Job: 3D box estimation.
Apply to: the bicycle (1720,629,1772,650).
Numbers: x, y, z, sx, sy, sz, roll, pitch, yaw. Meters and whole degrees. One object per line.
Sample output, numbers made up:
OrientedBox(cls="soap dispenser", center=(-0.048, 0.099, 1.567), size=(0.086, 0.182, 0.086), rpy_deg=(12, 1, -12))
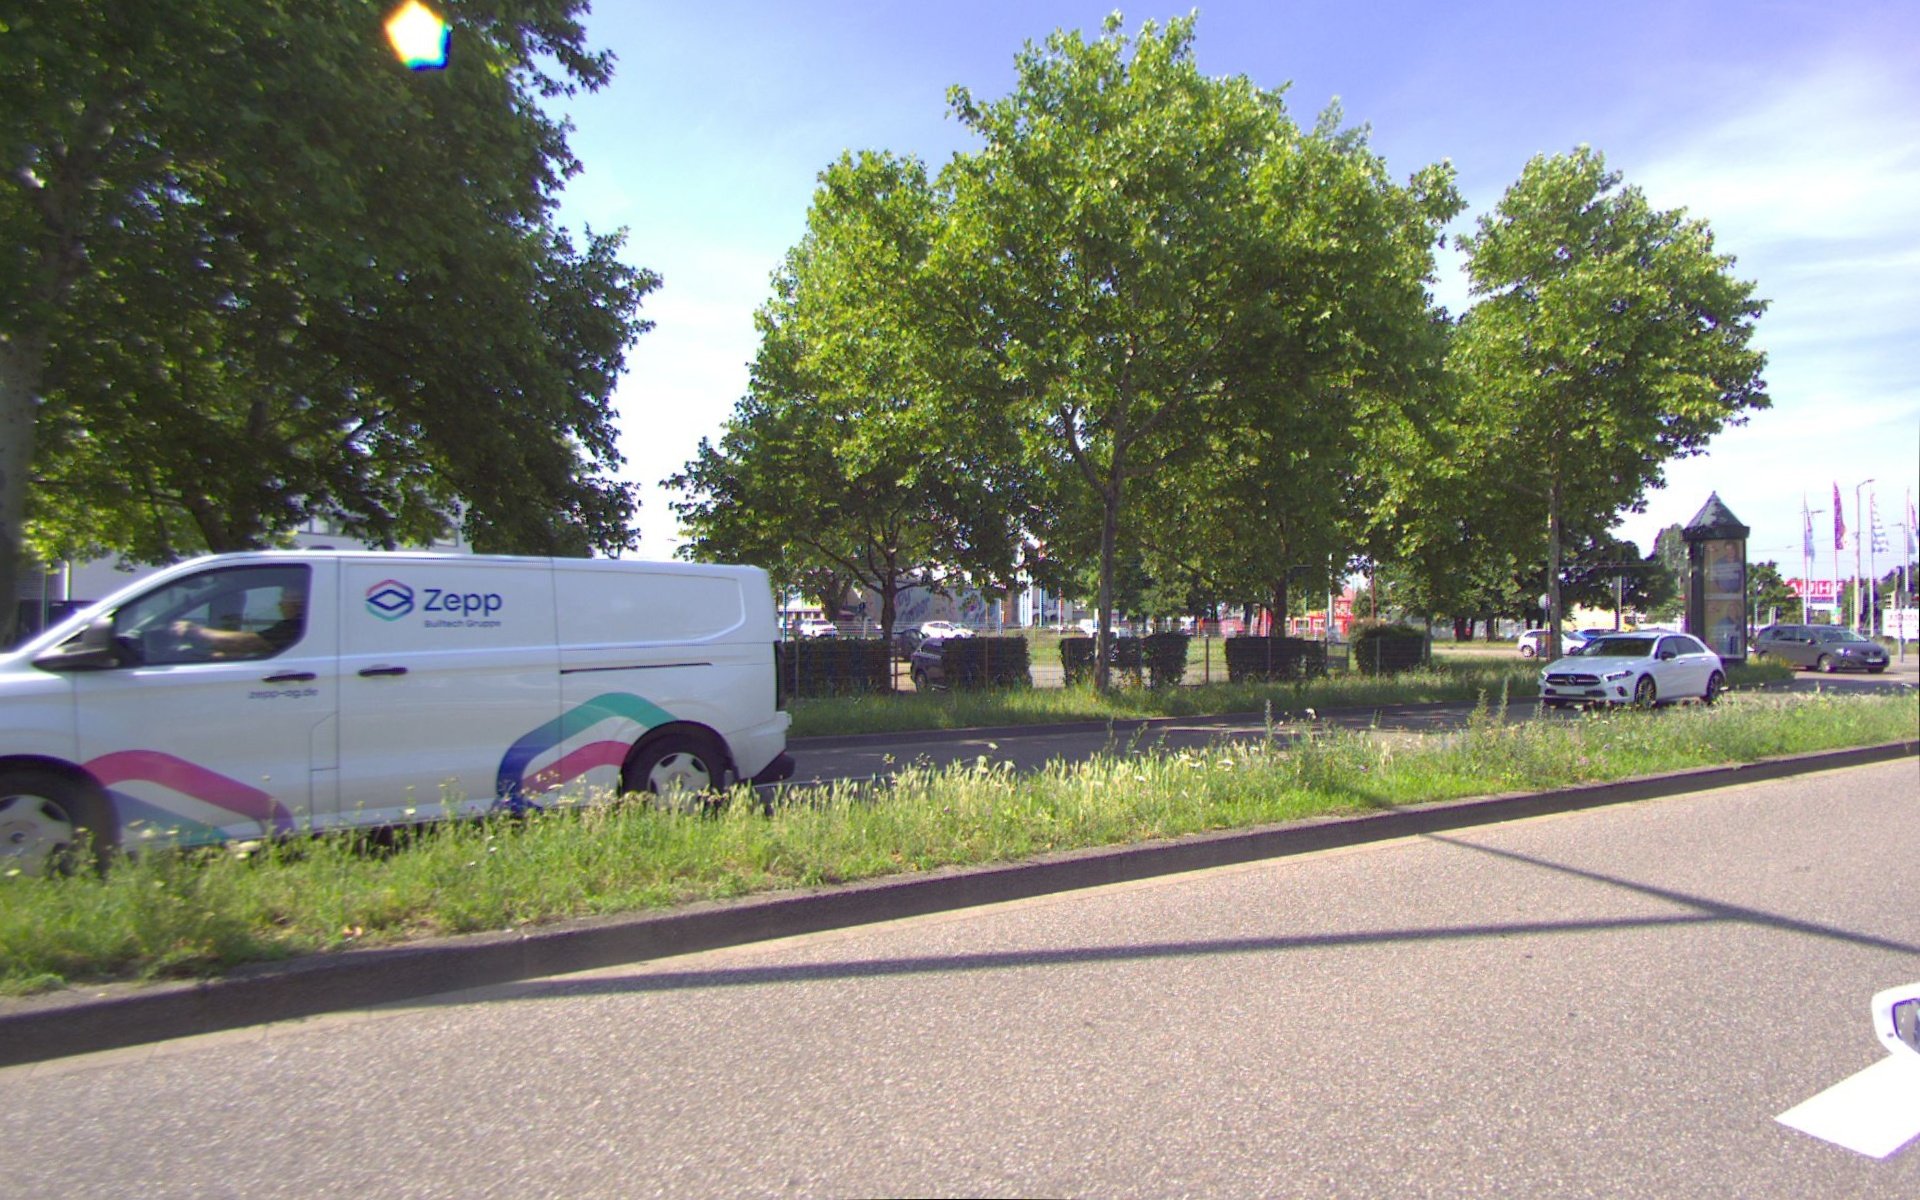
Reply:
OrientedBox(cls="bicycle", center=(39.133, 1.979, 50.023), size=(1.917, 0.996, 0.788), rpy_deg=(-1, 1, 24))

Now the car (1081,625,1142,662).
OrientedBox(cls="car", center=(7.440, 2.091, 48.930), size=(1.961, 1.687, 4.845), rpy_deg=(-1, -2, 21))

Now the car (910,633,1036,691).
OrientedBox(cls="car", center=(0.280, 1.680, 28.276), size=(1.788, 1.514, 3.968), rpy_deg=(1, -2, -30))

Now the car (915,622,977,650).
OrientedBox(cls="car", center=(-0.969, 2.513, 69.916), size=(3.924, 1.795, 1.845), rpy_deg=(-1, 0, 25))

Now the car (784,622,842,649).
OrientedBox(cls="car", center=(-11.151, 2.726, 76.192), size=(3.924, 1.929, 1.845), rpy_deg=(-1, 0, 25))

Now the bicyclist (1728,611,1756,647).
OrientedBox(cls="bicyclist", center=(38.987, 1.449, 50.082), size=(0.883, 1.738, 0.782), rpy_deg=(-1, 1, 24))

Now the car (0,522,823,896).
OrientedBox(cls="car", center=(-3.842, 0.618, 7.038), size=(5.358, 1.908, 2.106), rpy_deg=(1, -2, -32))

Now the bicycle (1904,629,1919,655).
OrientedBox(cls="bicycle", center=(49.515, 2.162, 51.870), size=(2.225, 1.273, 0.667), rpy_deg=(1, -2, -36))

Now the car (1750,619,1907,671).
OrientedBox(cls="car", center=(31.316, 1.602, 36.429), size=(1.832, 1.773, 4.400), rpy_deg=(0, -2, 0))

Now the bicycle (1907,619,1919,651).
OrientedBox(cls="bicycle", center=(49.519, 1.824, 51.887), size=(0.982, 1.636, 0.667), rpy_deg=(1, -2, -36))

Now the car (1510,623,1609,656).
OrientedBox(cls="car", center=(29.956, 1.970, 50.338), size=(1.696, 1.624, 4.148), rpy_deg=(1, -2, -18))

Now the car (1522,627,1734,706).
OrientedBox(cls="car", center=(13.238, 1.278, 19.860), size=(4.308, 1.416, 1.779), rpy_deg=(2, -3, -31))
